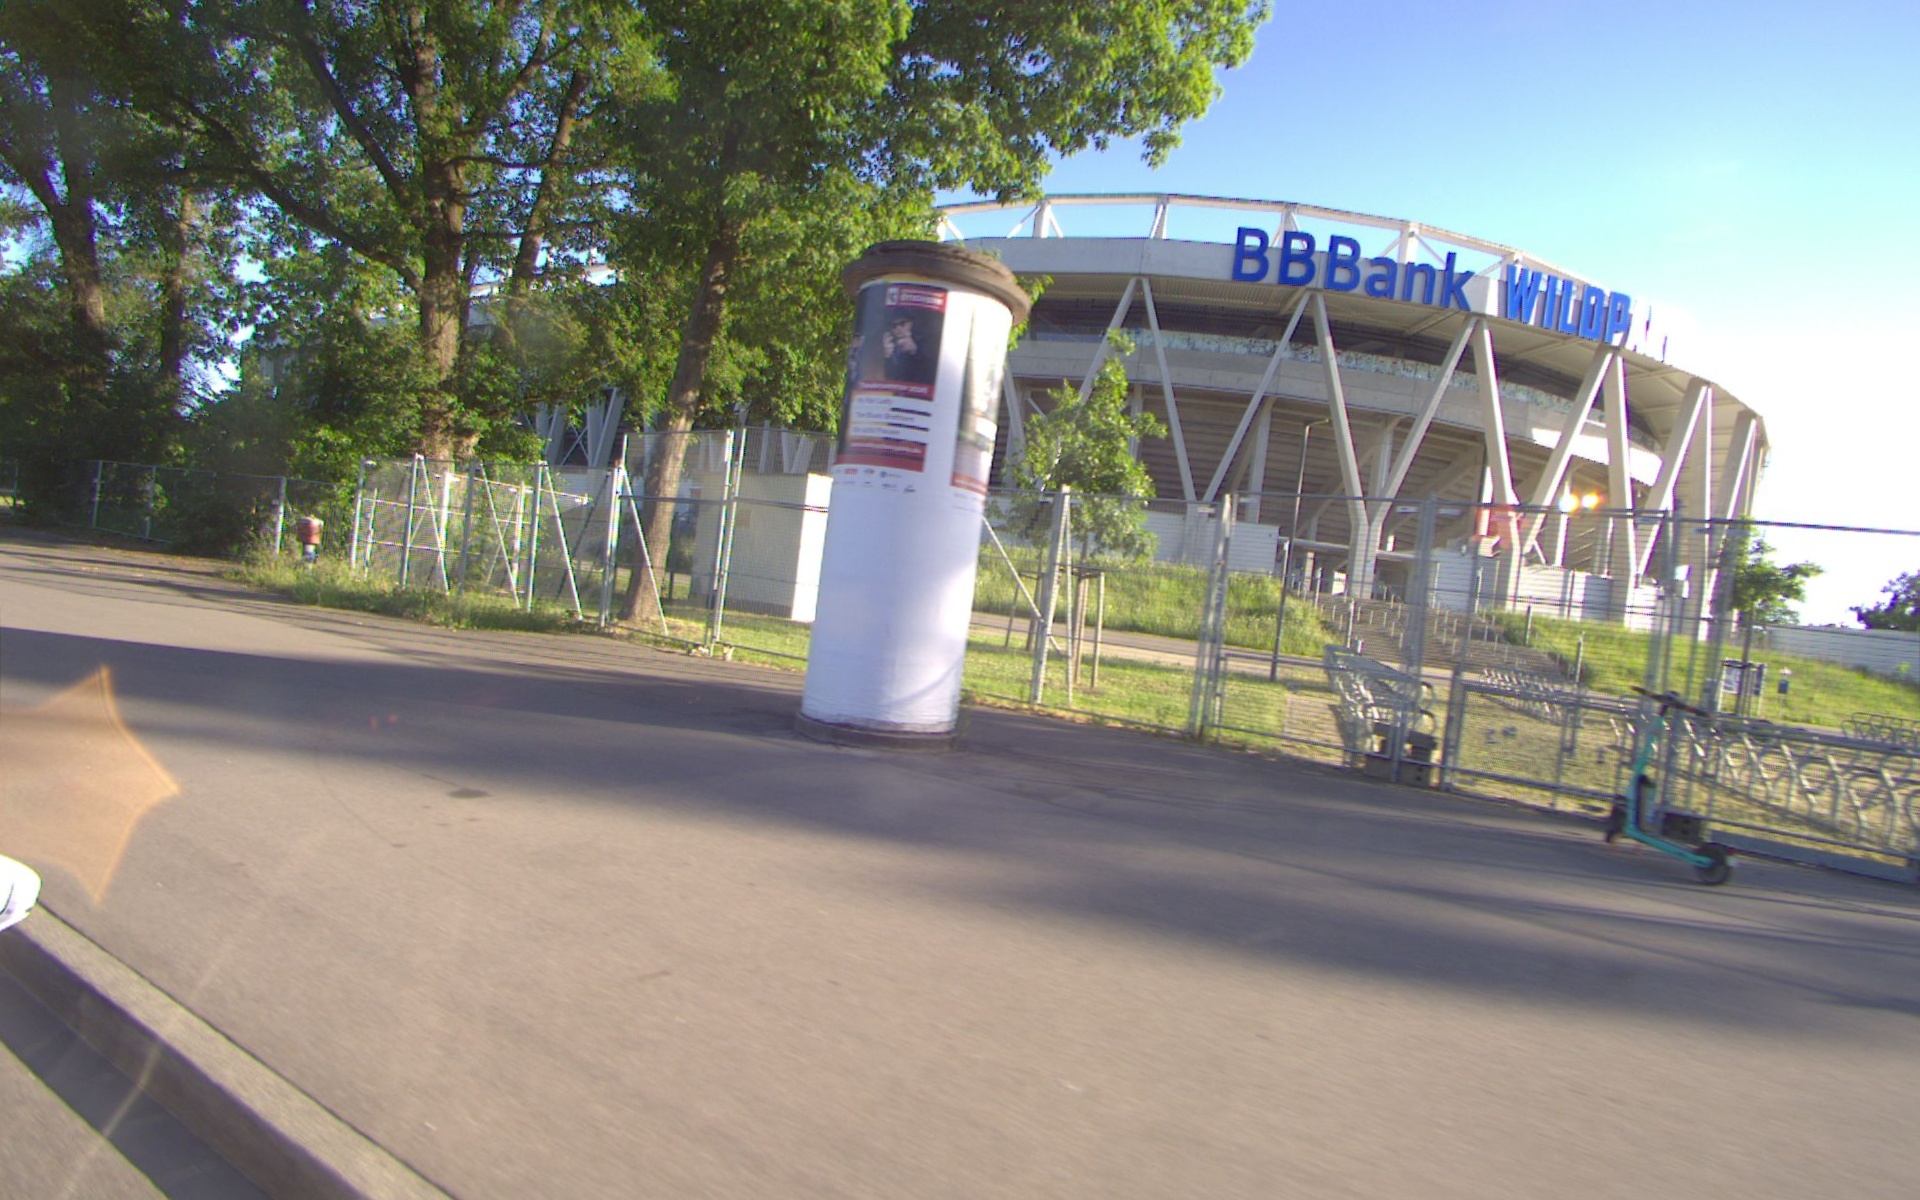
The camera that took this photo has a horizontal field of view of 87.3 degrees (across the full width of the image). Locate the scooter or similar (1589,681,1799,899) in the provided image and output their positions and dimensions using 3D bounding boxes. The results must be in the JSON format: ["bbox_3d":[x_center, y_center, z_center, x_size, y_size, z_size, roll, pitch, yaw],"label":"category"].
[{"bbox_3d":[5.073,1.264,7.044,0.329,1.253,1.300,7,1,-2],"label":"scooter or similar"}]
